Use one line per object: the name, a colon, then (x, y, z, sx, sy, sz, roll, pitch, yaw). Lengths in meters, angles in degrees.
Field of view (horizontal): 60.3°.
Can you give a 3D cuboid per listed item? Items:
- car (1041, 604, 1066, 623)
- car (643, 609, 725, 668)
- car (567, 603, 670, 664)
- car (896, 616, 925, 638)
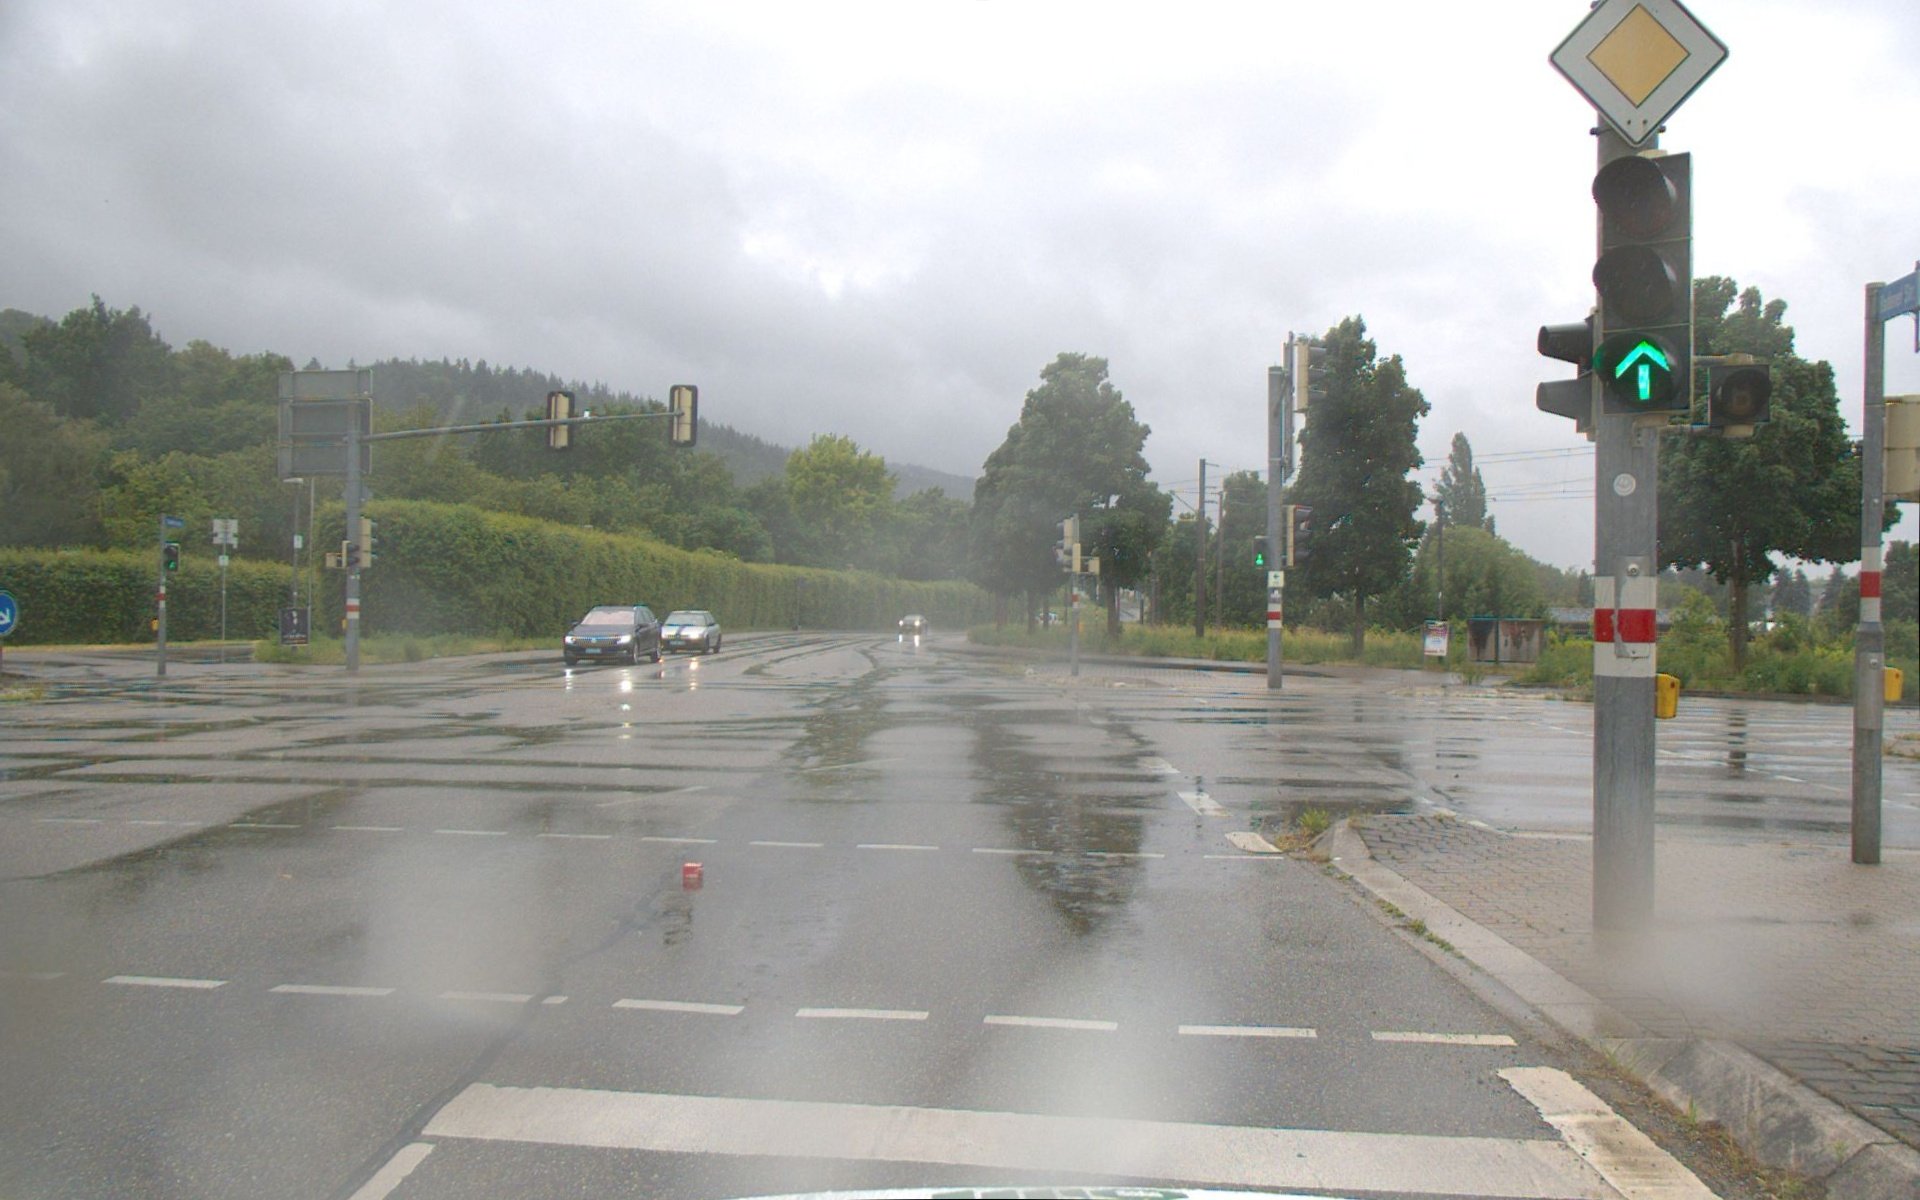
car: (9.589, 1.362, 169.713, 1.912, 1.937, 4.123, 0, 0, 13)
car: (-8.894, 1.215, 53.625, 1.995, 1.738, 4.065, 1, 0, -1)
car: (-8.881, 0.839, 43.343, 1.673, 1.491, 4.453, 0, 0, 1)
car: (-3.906, 2.131, 130.721, 1.747, 1.531, 4.064, 1, 1, 6)
